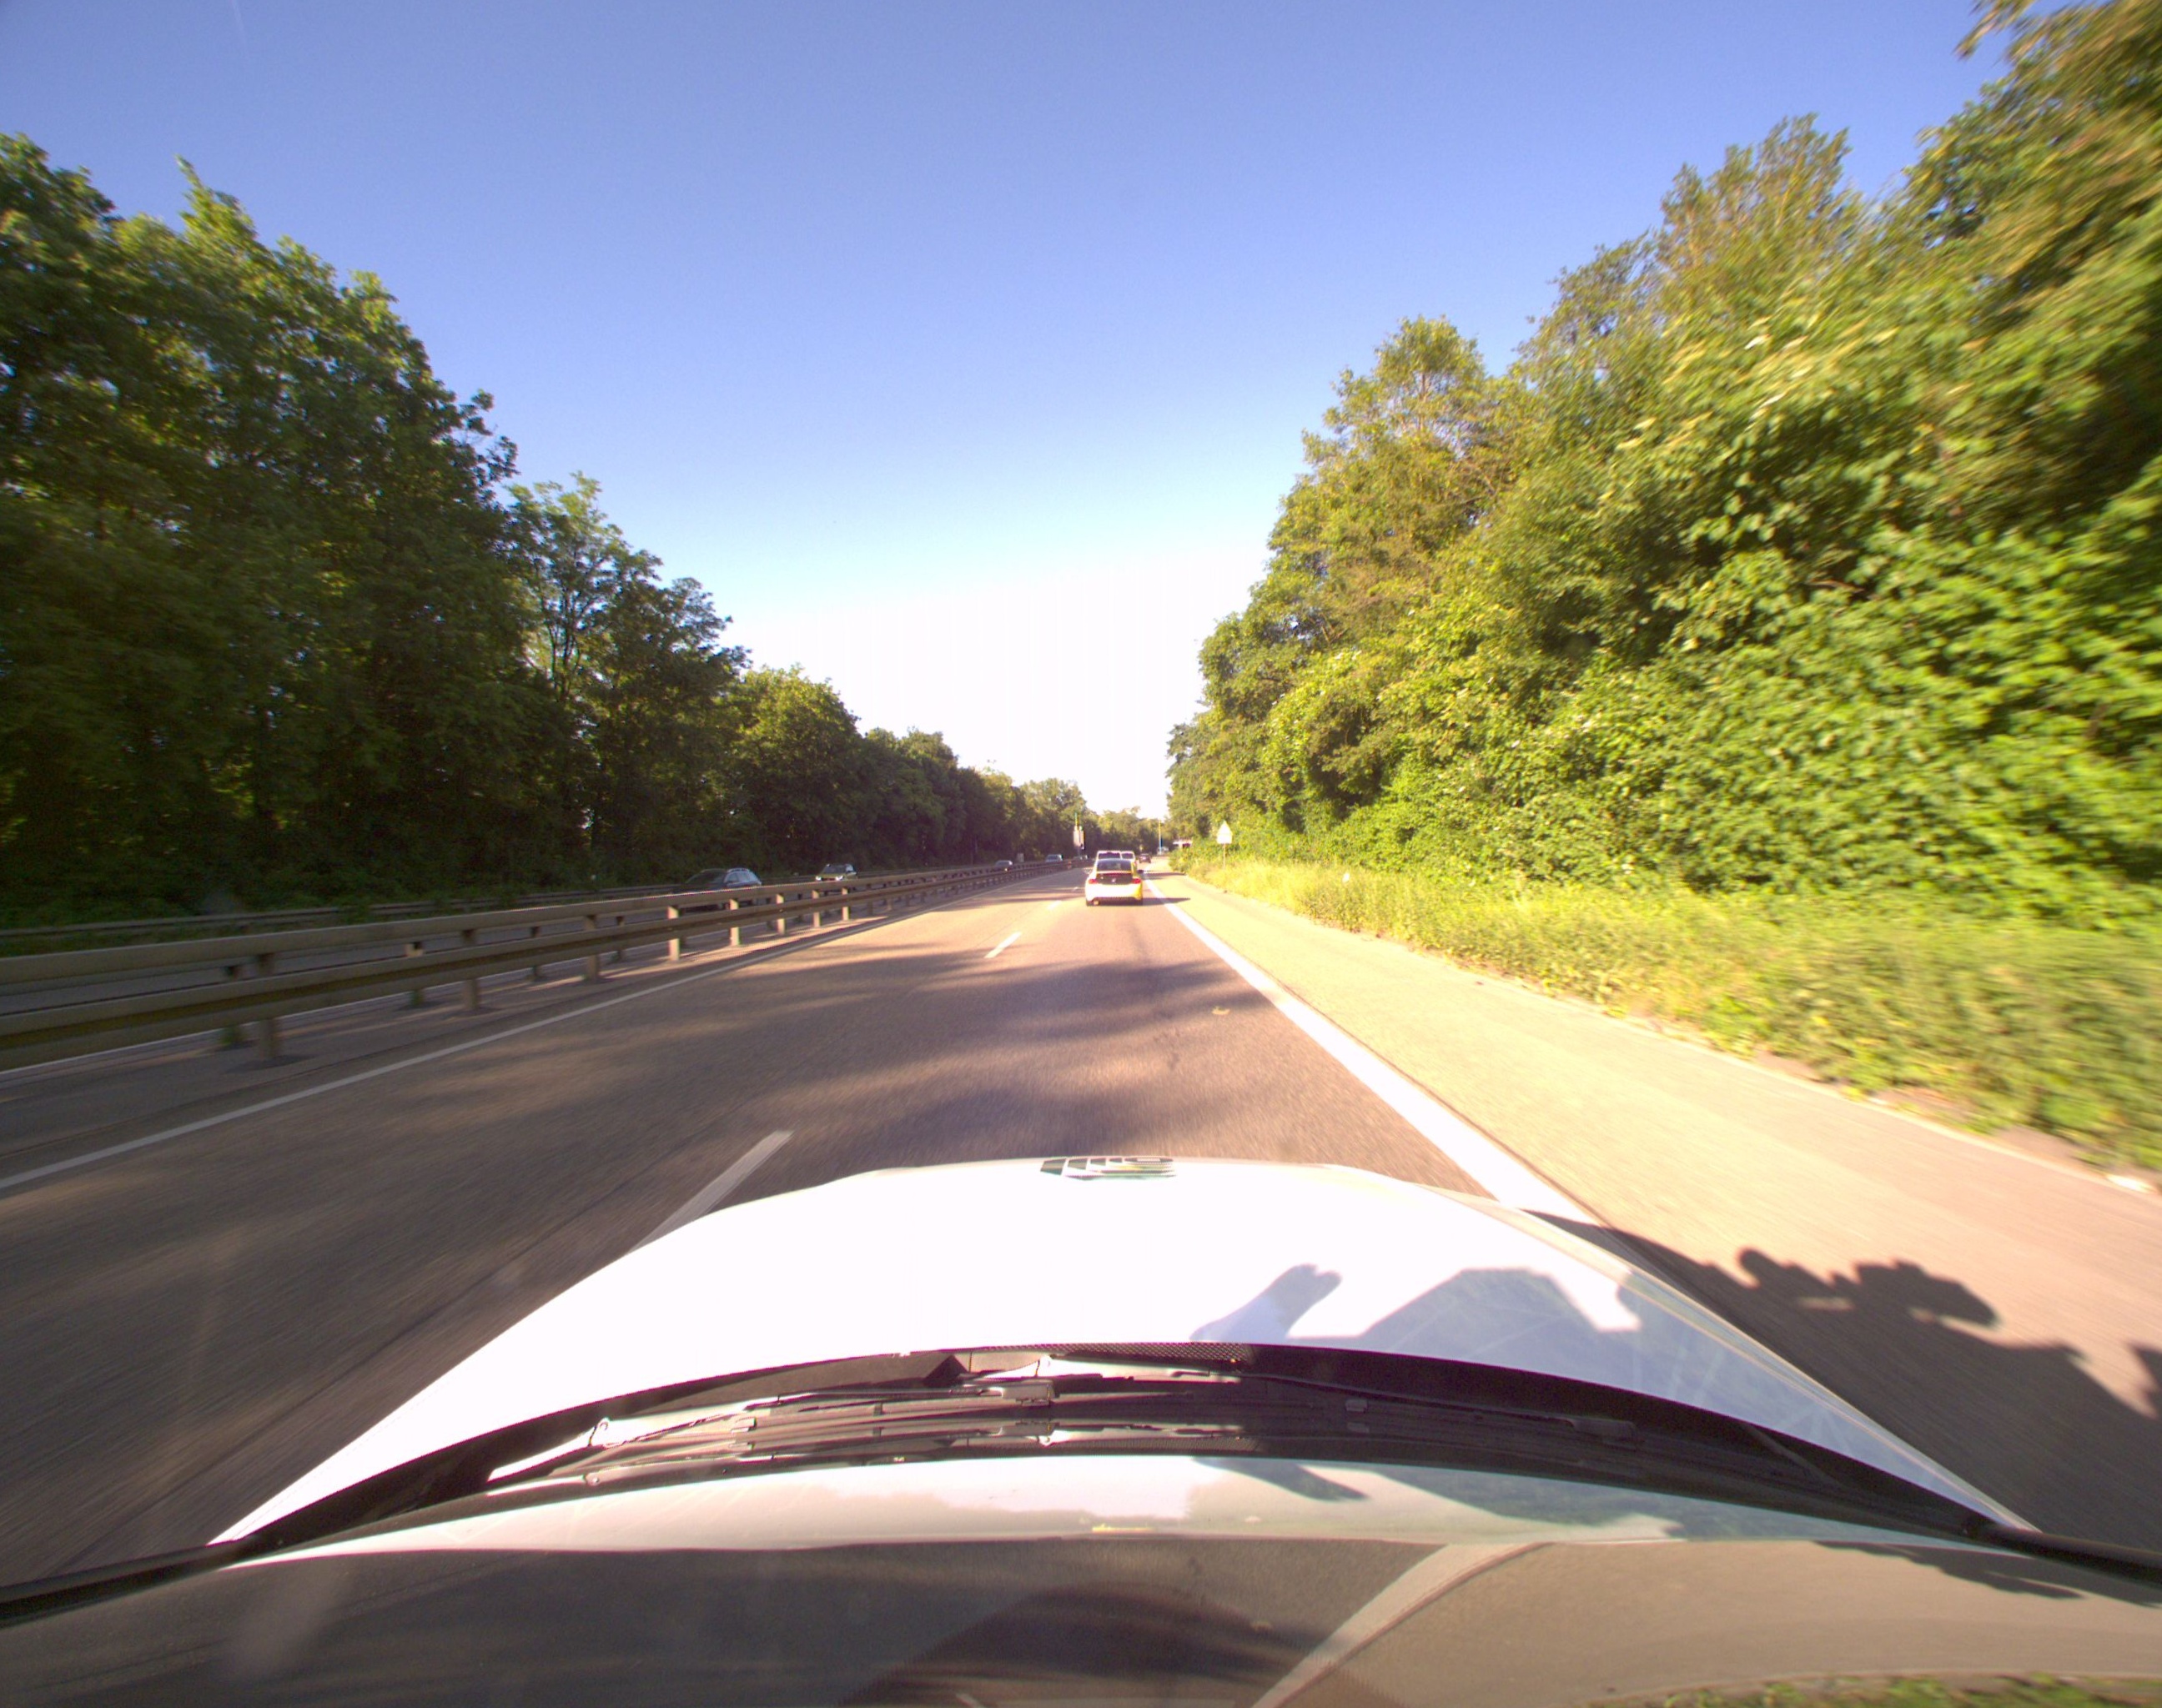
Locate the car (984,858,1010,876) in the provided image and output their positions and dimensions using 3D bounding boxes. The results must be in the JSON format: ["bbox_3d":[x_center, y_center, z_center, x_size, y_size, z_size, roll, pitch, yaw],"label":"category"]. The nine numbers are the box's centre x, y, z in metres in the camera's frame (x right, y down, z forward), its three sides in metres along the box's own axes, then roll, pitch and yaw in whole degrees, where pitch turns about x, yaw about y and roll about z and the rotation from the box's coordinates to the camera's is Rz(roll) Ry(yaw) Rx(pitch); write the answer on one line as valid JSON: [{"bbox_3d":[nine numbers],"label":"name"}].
[{"bbox_3d":[-7.735,1.183,75.443,1.590,1.453,4.350,-3,0,4],"label":"car"}]

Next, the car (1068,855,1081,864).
[{"bbox_3d":[-1.065,0.894,139.090,1.589,1.314,3.917,-3,0,6],"label":"car"}]

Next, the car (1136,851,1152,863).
[{"bbox_3d":[10.158,0.451,130.995,2.252,1.875,5.085,1,0,6],"label":"car"}]

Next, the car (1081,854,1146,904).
[{"bbox_3d":[1.065,0.758,26.363,1.931,1.508,3.425,-1,0,2],"label":"car"}]

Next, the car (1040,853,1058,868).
[{"bbox_3d":[-4.316,0.915,111.464,1.880,1.903,5.420,-3,0,3],"label":"car"}]

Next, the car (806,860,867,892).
[{"bbox_3d":[-13.638,1.212,45.650,1.986,1.585,4.001,-3,0,1],"label":"car"}]

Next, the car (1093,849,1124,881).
[{"bbox_3d":[1.666,0.616,48.747,1.734,1.830,3.426,-1,0,4],"label":"car"}]

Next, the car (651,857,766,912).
[{"bbox_3d":[-13.752,1.067,30.383,1.986,1.750,4.552,-3,0,2],"label":"car"}]

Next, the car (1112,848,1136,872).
[{"bbox_3d":[3.818,0.507,72.808,1.986,2.013,4.002,-3,0,2],"label":"car"}]
